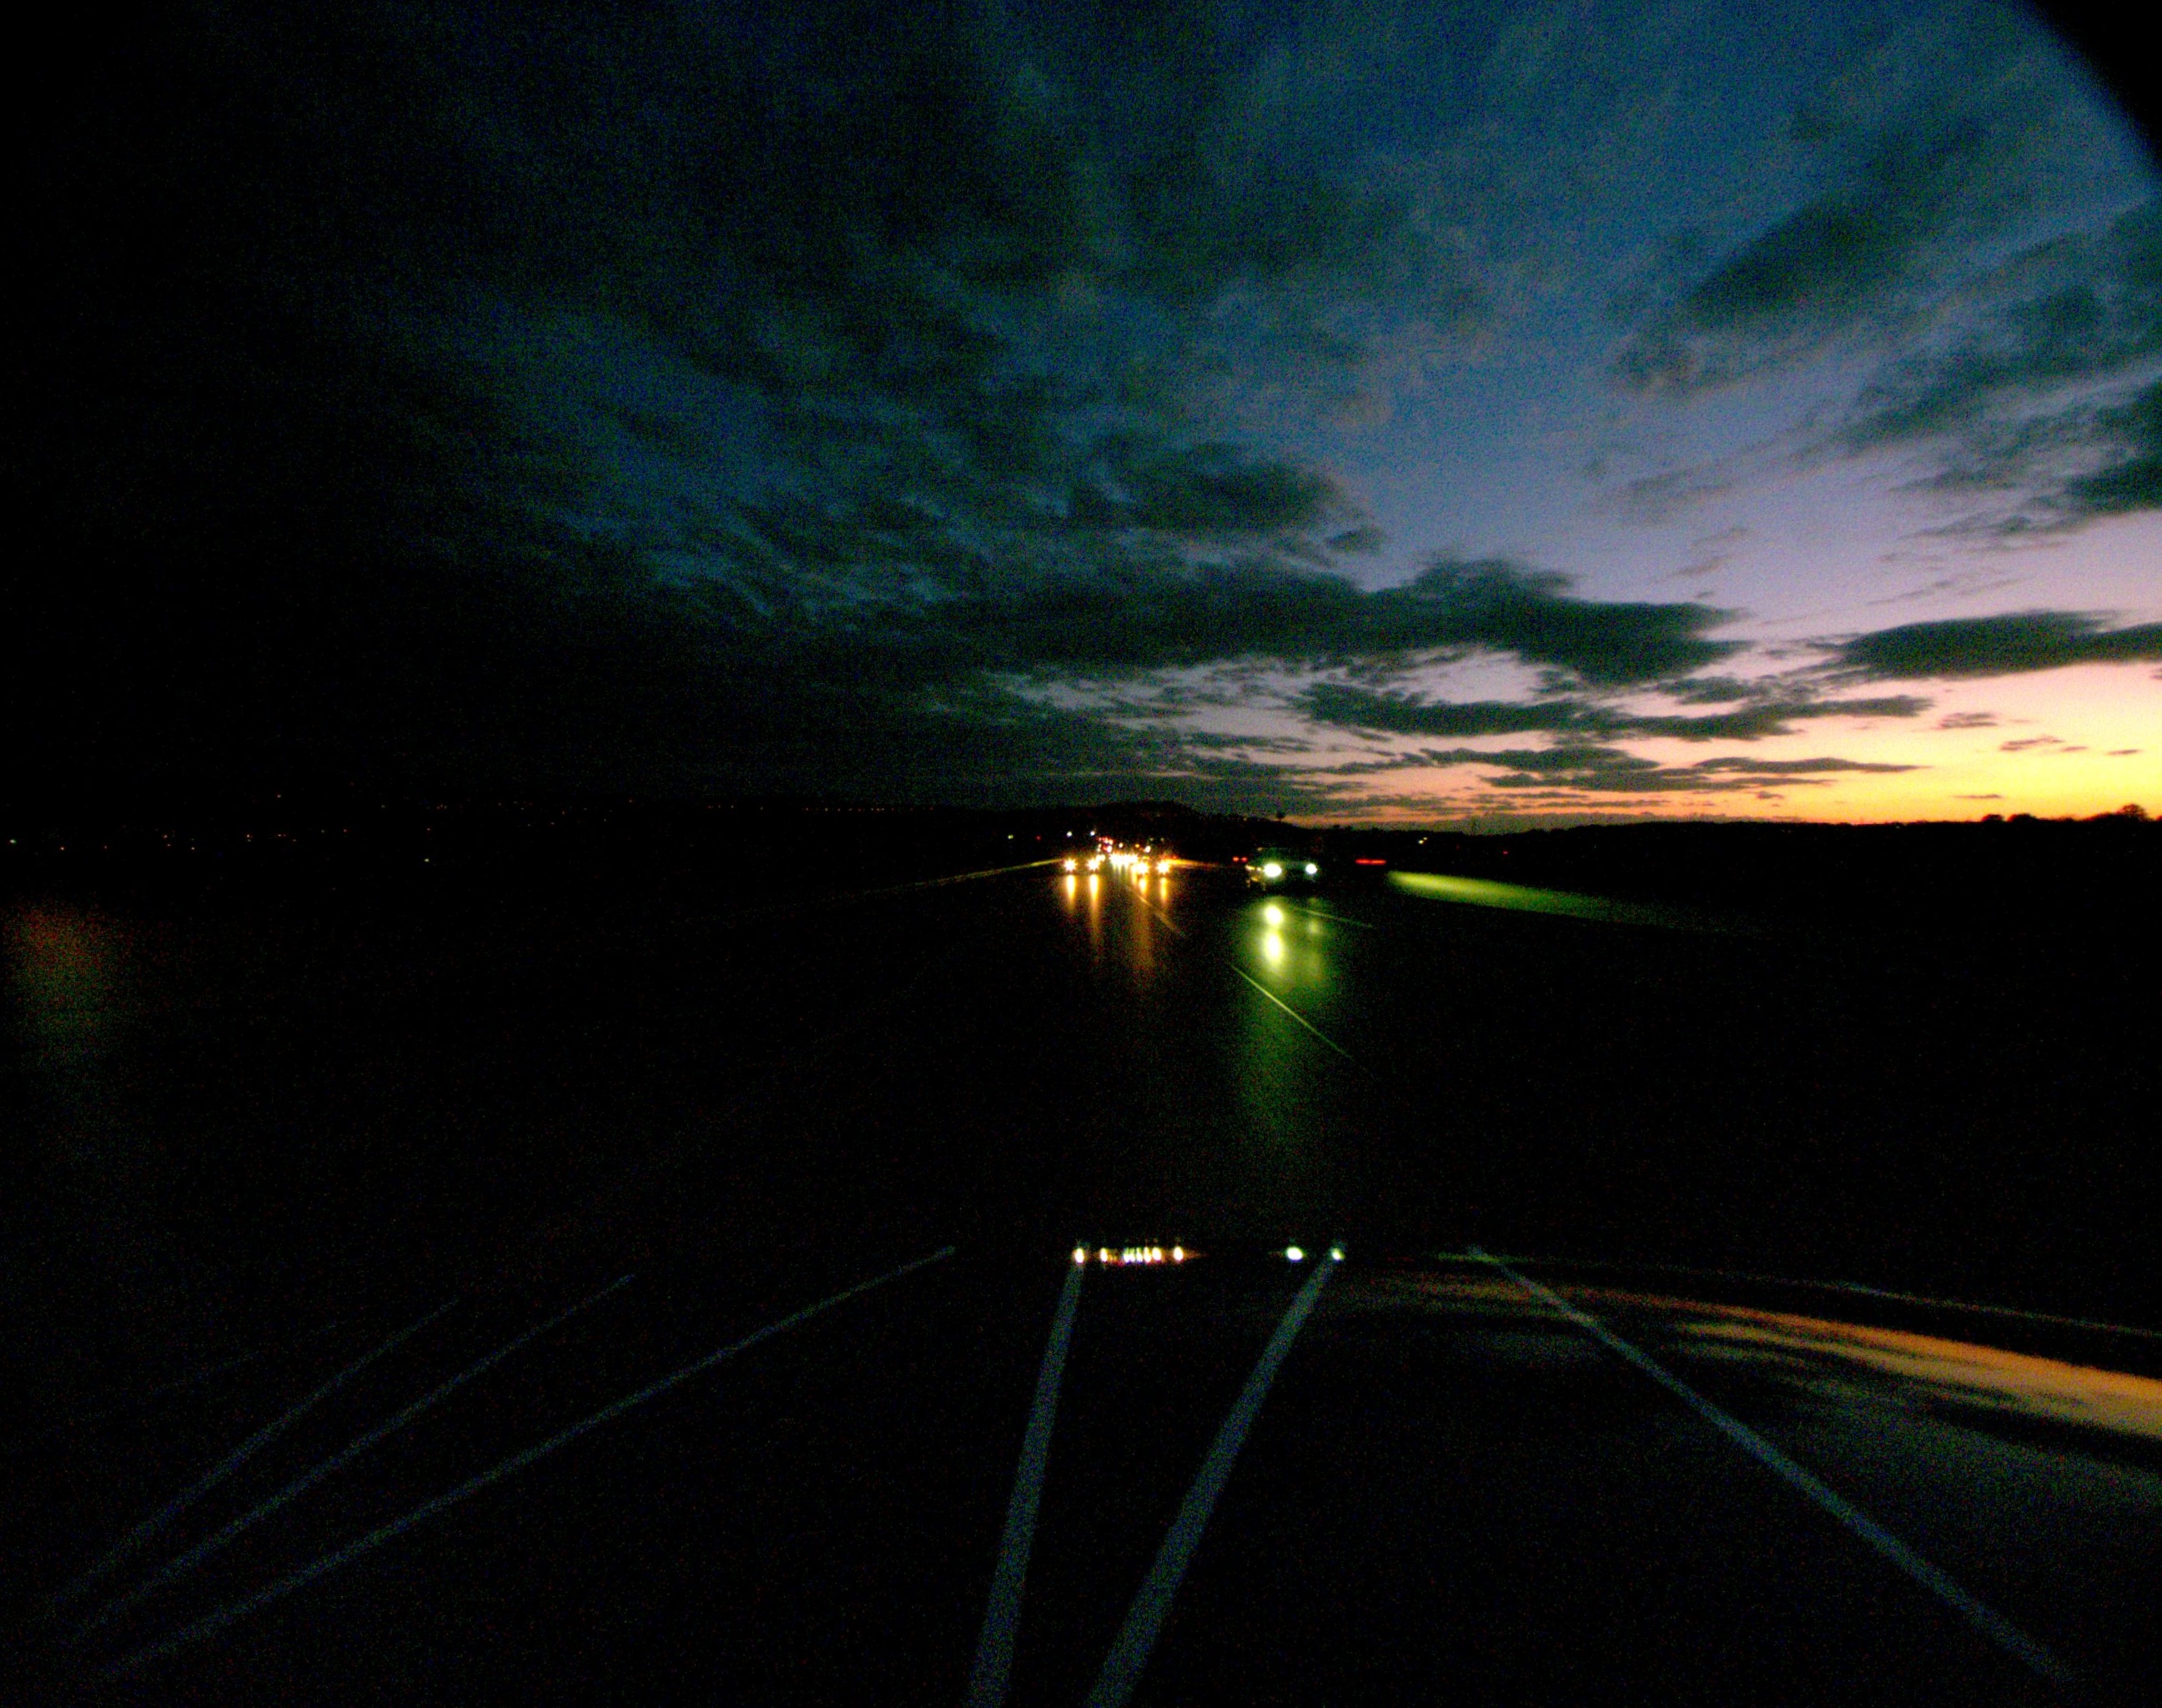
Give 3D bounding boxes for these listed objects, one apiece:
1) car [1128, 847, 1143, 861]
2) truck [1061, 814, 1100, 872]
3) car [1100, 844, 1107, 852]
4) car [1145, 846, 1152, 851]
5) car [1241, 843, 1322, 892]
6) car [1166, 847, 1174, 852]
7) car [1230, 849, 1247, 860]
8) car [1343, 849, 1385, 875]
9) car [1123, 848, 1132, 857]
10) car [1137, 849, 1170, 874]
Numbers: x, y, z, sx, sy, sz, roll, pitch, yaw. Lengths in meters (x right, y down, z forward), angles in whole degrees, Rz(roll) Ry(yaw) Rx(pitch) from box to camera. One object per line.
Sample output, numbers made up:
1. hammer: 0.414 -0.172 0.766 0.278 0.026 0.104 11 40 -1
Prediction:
1. car: 7.617 0.042 106.222 1.862 1.826 3.999 -2 1 1
2. truck: 0.055 -0.850 67.496 3.012 4.570 12.578 -2 0 1
3. car: 5.719 -1.563 193.033 1.862 1.826 3.999 -2 1 1
4. car: 18.697 -1.580 211.122 1.670 1.211 3.999 -2 1 1
5. car: 7.592 0.452 29.206 1.819 1.638 4.856 -2 1 1
6. car: 23.905 -1.165 203.059 1.670 1.174 3.999 -2 1 1
7. car: 24.357 0.107 117.766 1.662 1.526 4.519 -2 1 1
8. car: 23.165 0.606 62.280 1.778 2.002 4.418 -2 1 1
9. car: 10.132 -0.248 165.664 1.862 1.826 3.999 -2 1 1
10. car: 4.813 0.459 50.827 1.802 1.531 4.159 -2 1 1
